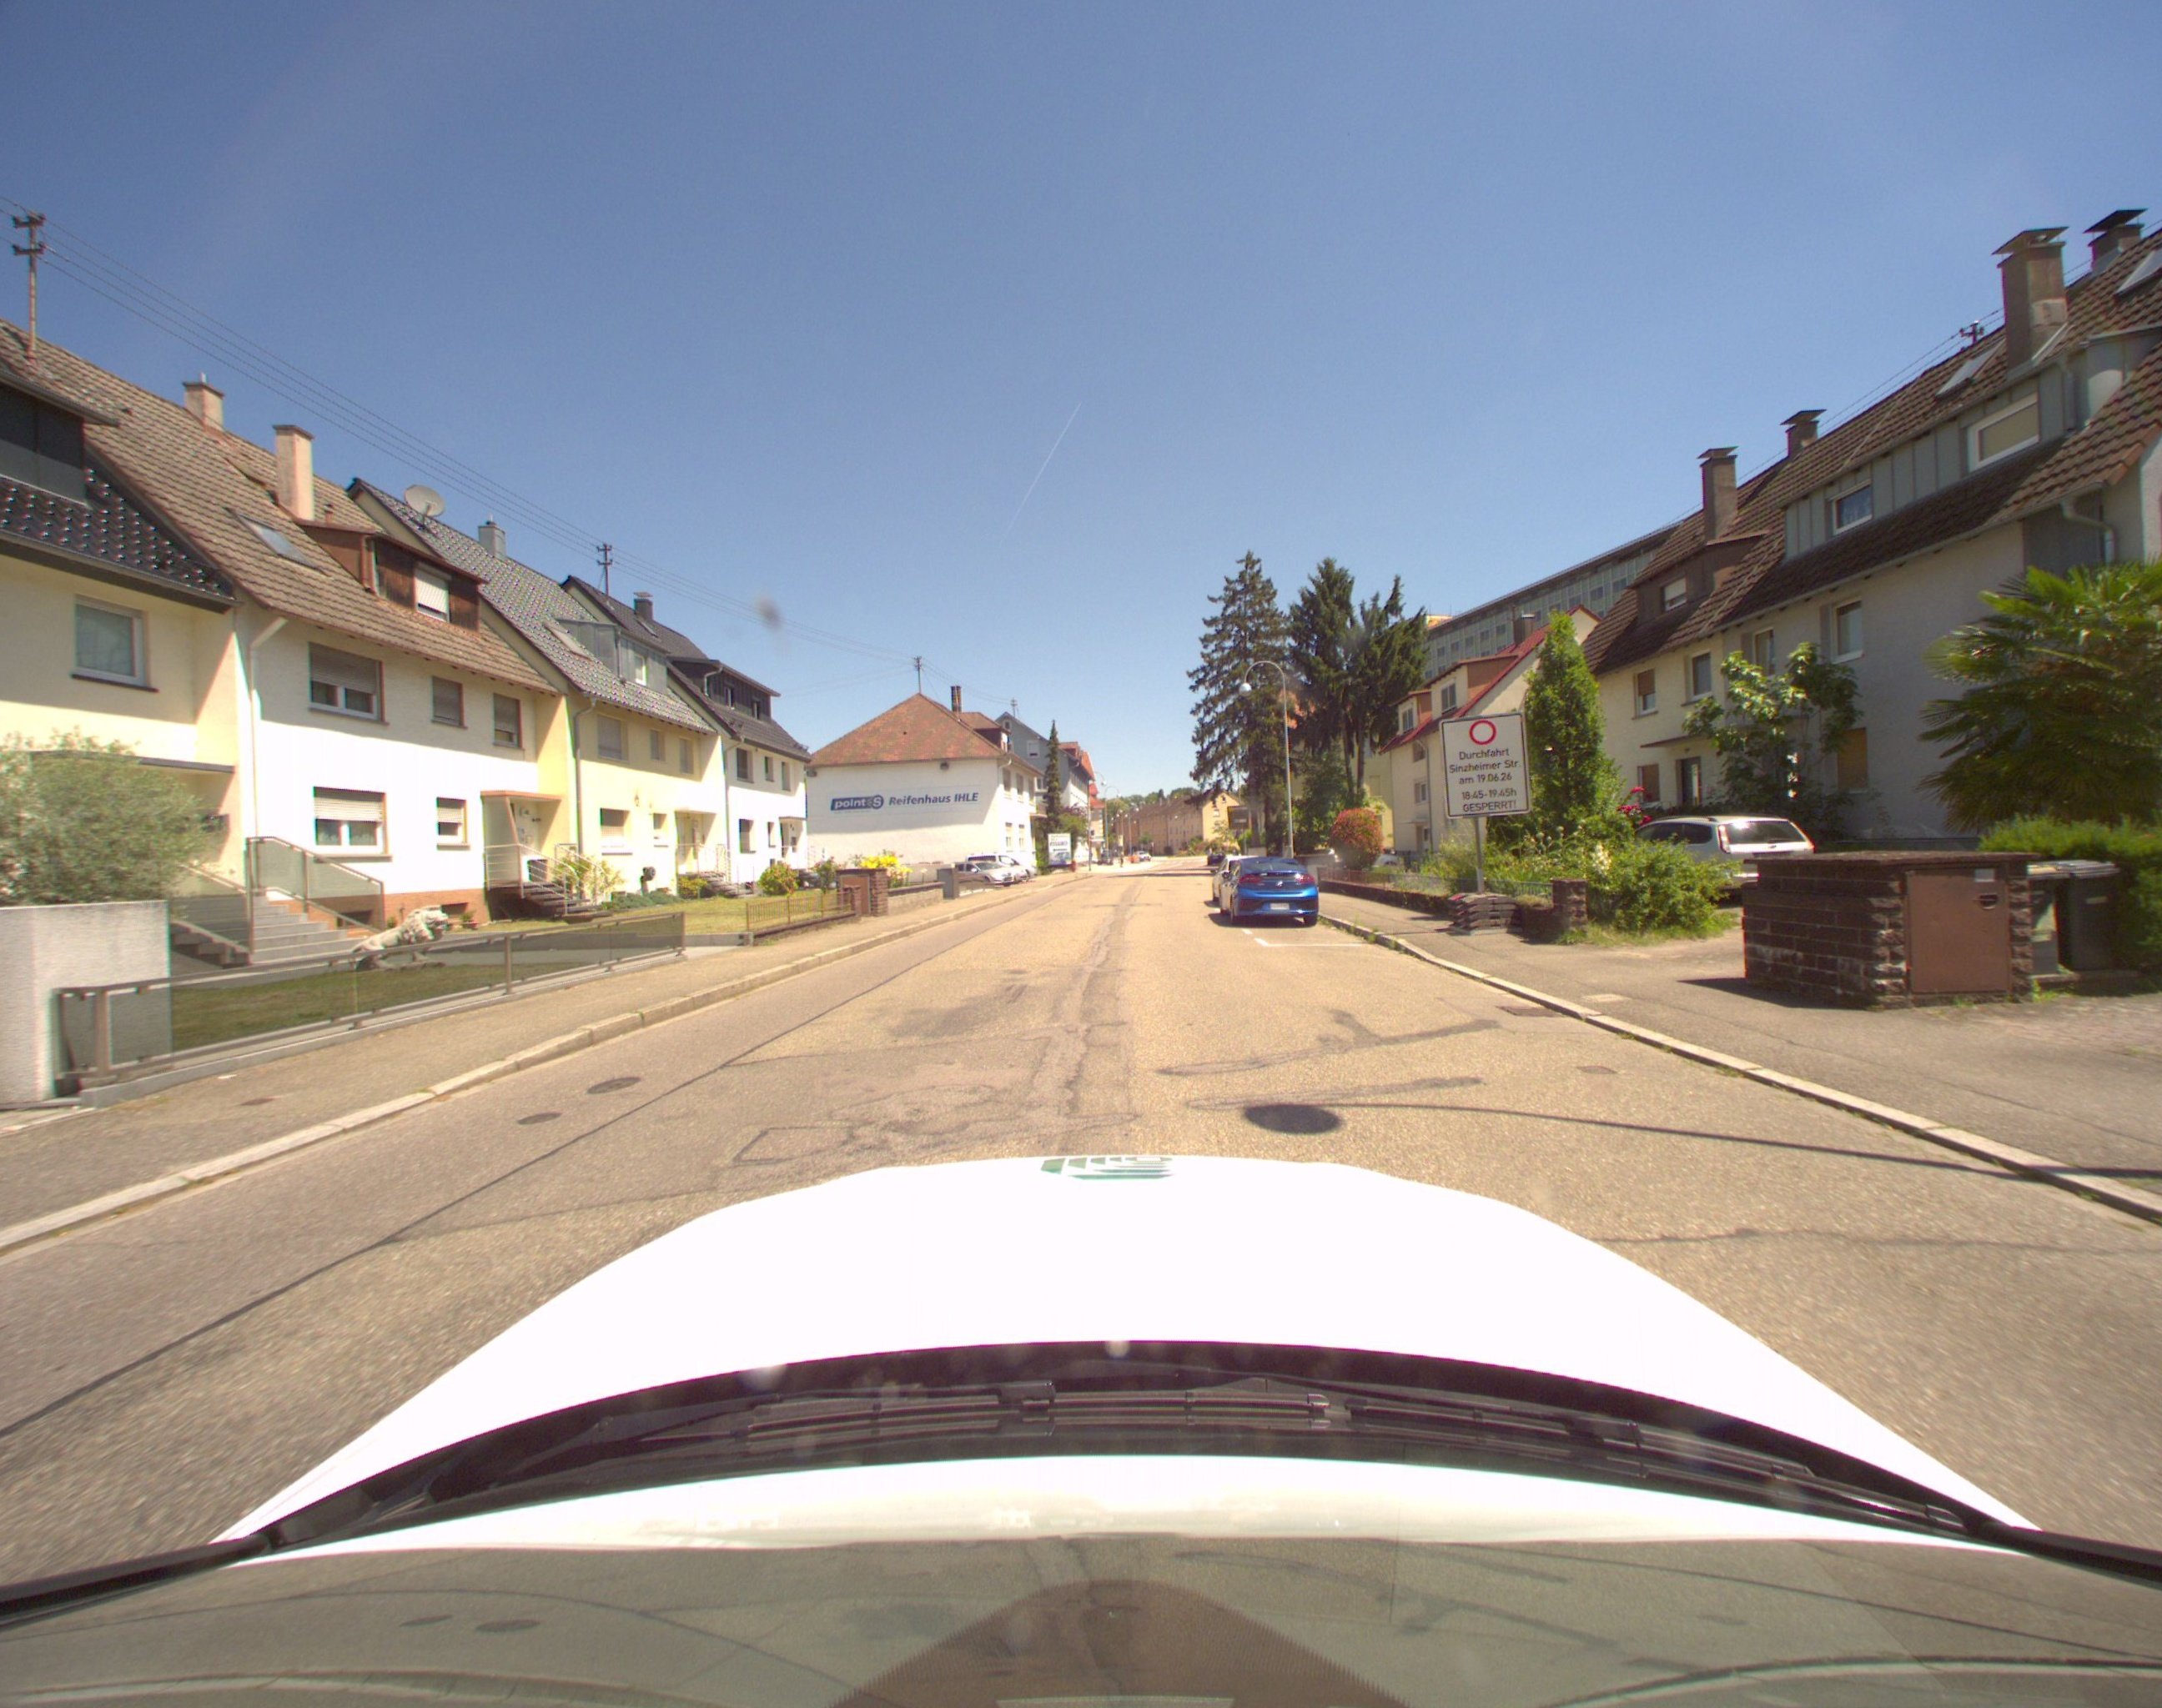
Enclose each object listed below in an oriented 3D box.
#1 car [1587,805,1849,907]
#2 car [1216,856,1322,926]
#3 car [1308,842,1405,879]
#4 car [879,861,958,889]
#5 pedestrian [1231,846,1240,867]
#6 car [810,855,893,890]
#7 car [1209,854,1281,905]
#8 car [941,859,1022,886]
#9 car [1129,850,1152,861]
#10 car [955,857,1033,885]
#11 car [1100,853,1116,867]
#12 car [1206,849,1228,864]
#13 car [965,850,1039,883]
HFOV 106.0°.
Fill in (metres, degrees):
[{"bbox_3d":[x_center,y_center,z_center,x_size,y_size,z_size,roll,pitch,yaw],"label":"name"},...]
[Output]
[{"bbox_3d":[11.633,0.053,15.281,1.787,1.569,4.001,-3,-1,2],"label":"car"},{"bbox_3d":[4.168,0.751,18.645,1.770,1.405,4.292,0,0,5],"label":"car"},{"bbox_3d":[12.928,0.293,38.386,3.969,1.611,1.835,-1,0,4],"label":"car"},{"bbox_3d":[-8.602,1.099,42.901,4.088,1.343,1.846,-2,0,38],"label":"car"},{"bbox_3d":[13.245,0.187,69.803,0.684,1.771,0.693,-1,-2,11],"label":"pedestrian"},{"bbox_3d":[-10.769,0.855,38.066,3.949,1.510,1.811,-1,1,40],"label":"car"},{"bbox_3d":[4.940,0.711,25.037,1.717,1.419,4.019,0,0,5],"label":"car"},{"bbox_3d":[-5.290,0.985,43.191,4.088,1.343,1.923,-2,0,38],"label":"car"},{"bbox_3d":[9.341,0.199,127.716,1.608,1.606,3.371,-2,0,-38],"label":"car"},{"bbox_3d":[-4.896,0.940,46.171,4.111,1.394,1.830,-2,0,3],"label":"car"},{"bbox_3d":[3.311,0.752,98.842,1.749,1.656,4.005,-1,0,4],"label":"car"},{"bbox_3d":[14.141,0.228,84.527,1.781,1.510,4.016,-2,0,14],"label":"car"},{"bbox_3d":[-4.691,0.728,48.727,4.115,1.774,1.828,-2,0,0],"label":"car"}]
